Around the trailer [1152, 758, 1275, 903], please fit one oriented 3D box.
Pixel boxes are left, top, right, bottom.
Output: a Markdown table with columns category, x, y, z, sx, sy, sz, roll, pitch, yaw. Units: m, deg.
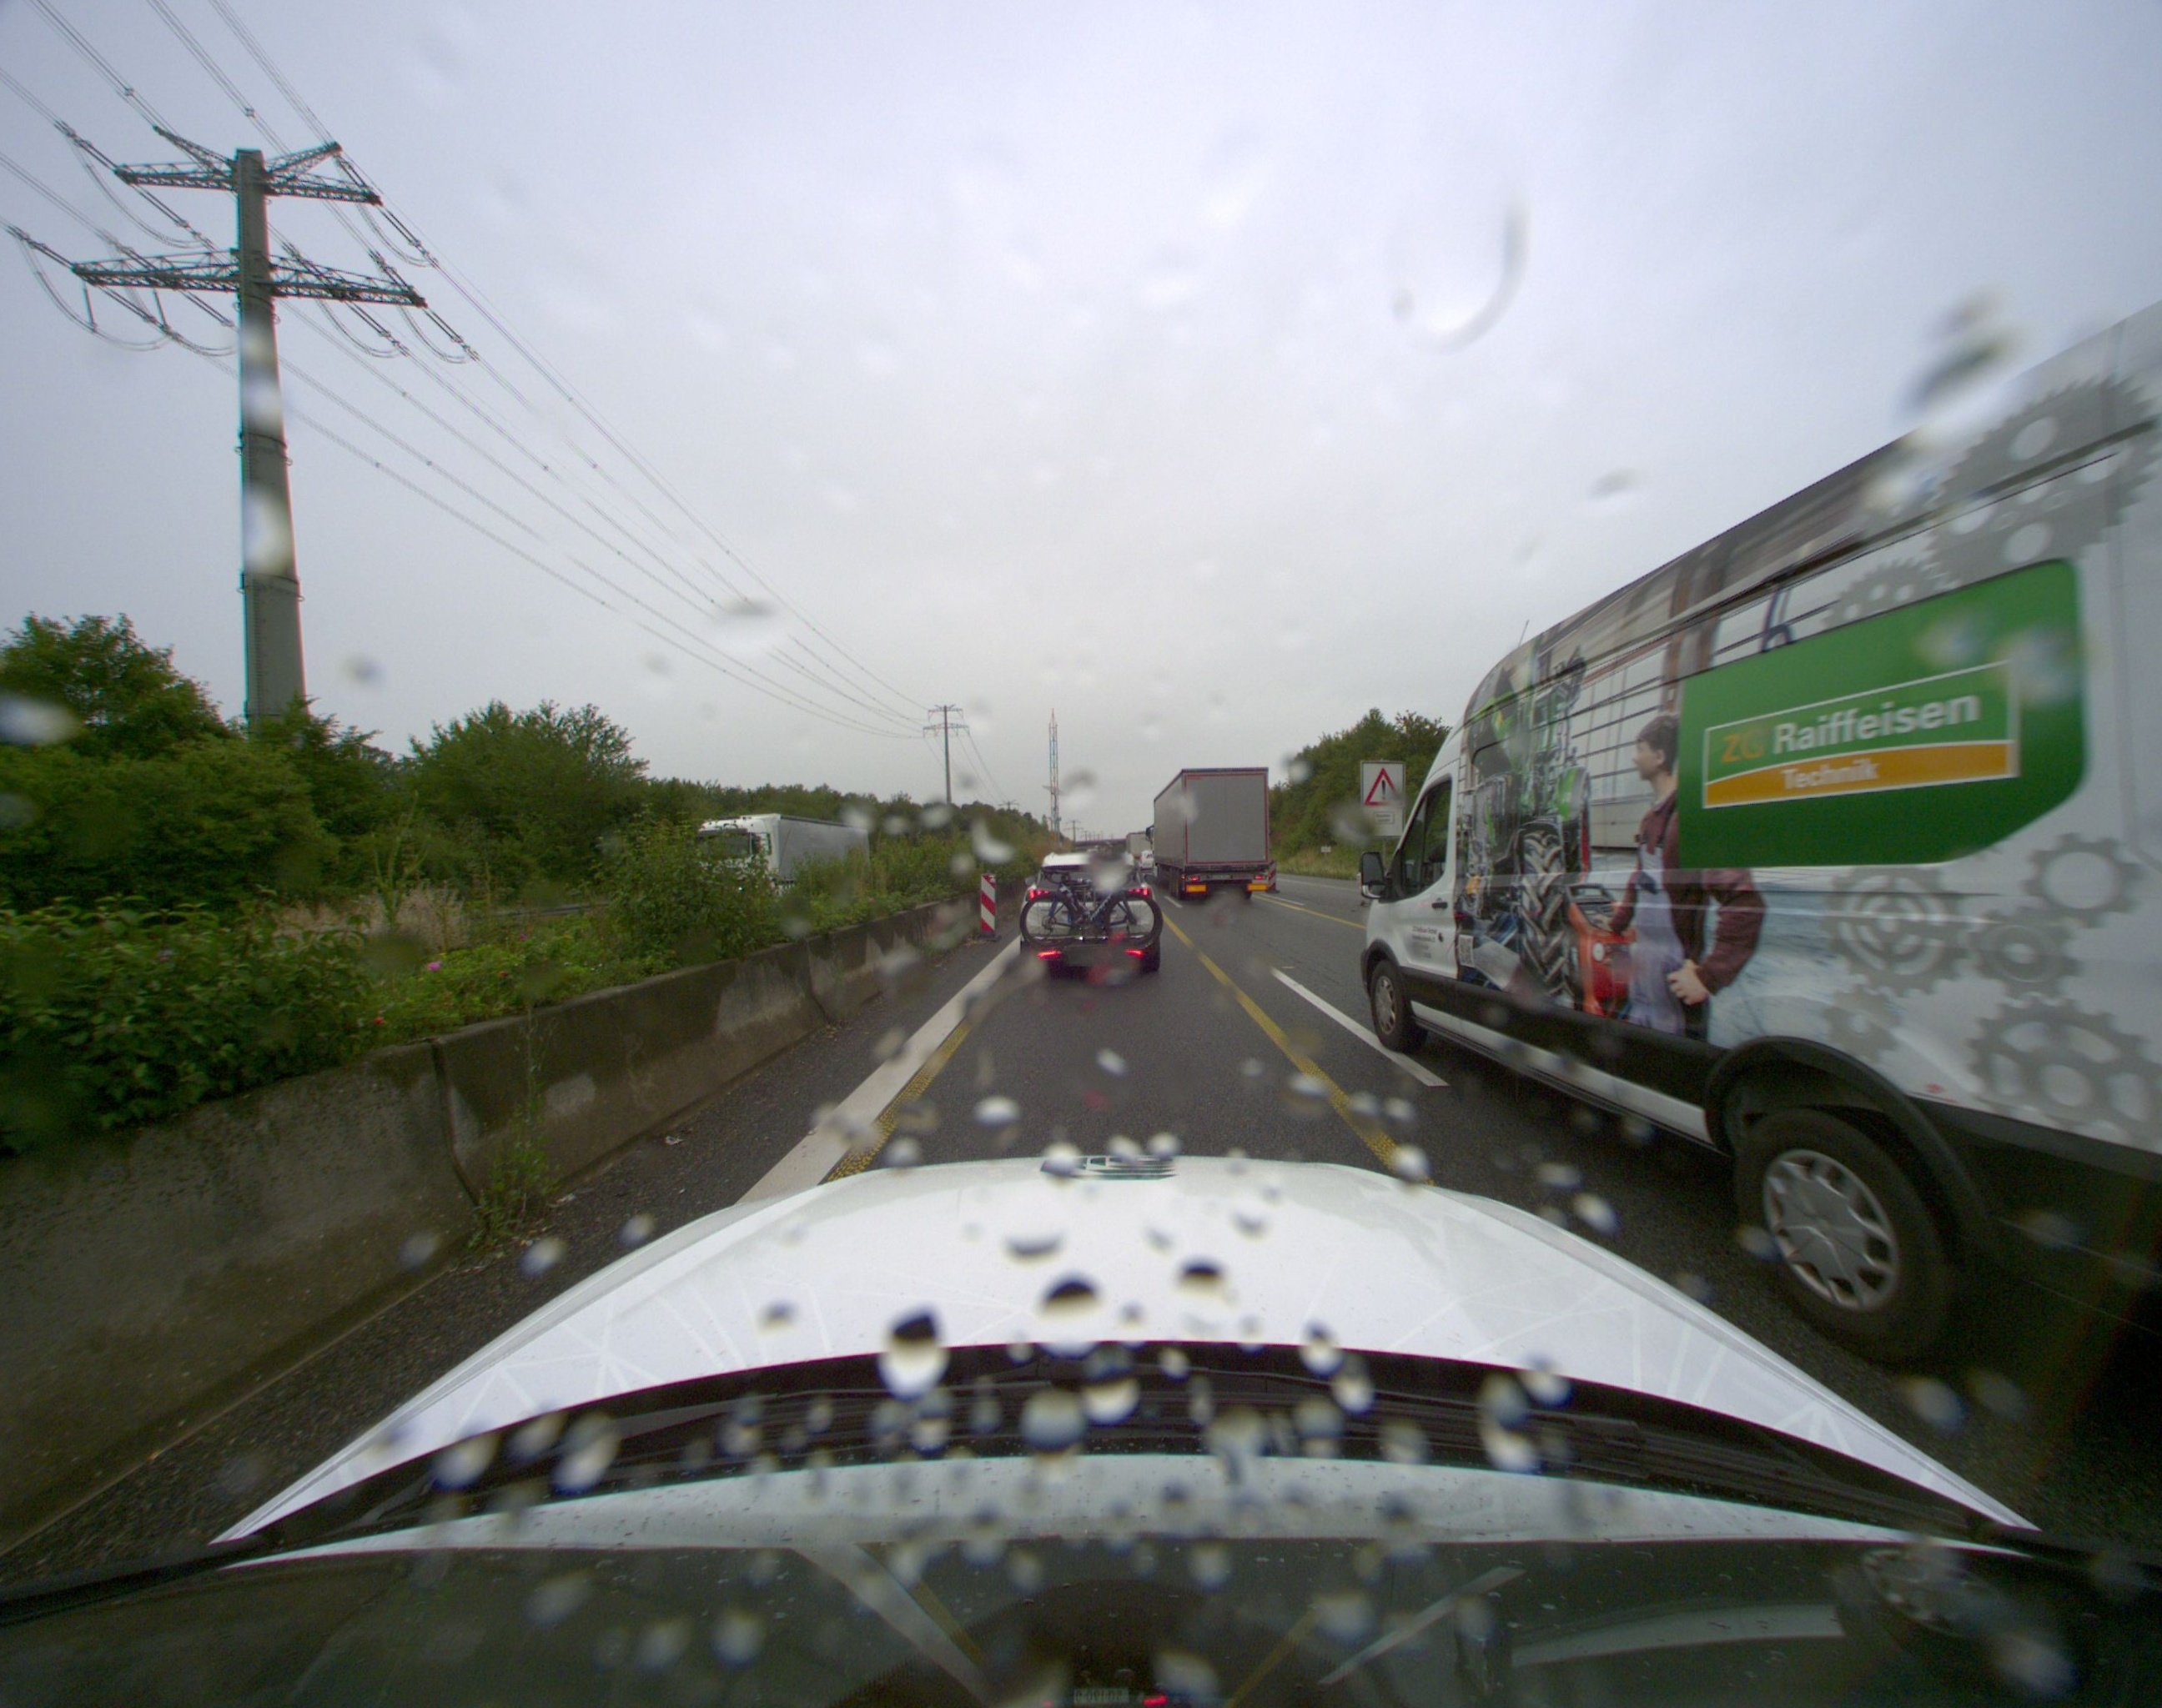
| category | x | y | z | sx | sy | sz | roll | pitch | yaw |
| --- | --- | --- | --- | --- | --- | --- | --- | --- | --- |
| trailer | 4.442 | -0.682 | 30.550 | 2.696 | 4.146 | 13.736 | -1 | 0 | 2 |

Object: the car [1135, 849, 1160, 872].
| category | x | y | z | sx | sy | sz | roll | pitch | yaw |
| --- | --- | --- | --- | --- | --- | --- | --- | --- | --- |
| car | 5.515 | 0.490 | 68.329 | 1.822 | 1.839 | 4.657 | -1 | 0 | 1 |

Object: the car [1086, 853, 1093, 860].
| category | x | y | z | sx | sy | sz | roll | pitch | yaw |
| --- | --- | --- | --- | --- | --- | --- | --- | --- | --- |
| car | 2.488 | 0.616 | 231.187 | 1.924 | 1.973 | 4.002 | -1 | 1 | 1 |

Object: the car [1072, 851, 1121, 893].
| category | x | y | z | sx | sy | sz | roll | pitch | yaw |
| --- | --- | --- | --- | --- | --- | --- | --- | --- | --- |
| car | 0.635 | 0.677 | 32.806 | 1.843 | 1.531 | 4.001 | -1 | 0 | 1 |

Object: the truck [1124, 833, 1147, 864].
| category | x | y | z | sx | sy | sz | roll | pitch | yaw |
| --- | --- | --- | --- | --- | --- | --- | --- | --- | --- |
| truck | 7.317 | -0.749 | 110.092 | 2.650 | 4.076 | 6.541 | -1 | 0 | 1 |

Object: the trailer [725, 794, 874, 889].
| category | x | y | z | sx | sy | sz | roll | pitch | yaw |
| --- | --- | --- | --- | --- | --- | --- | --- | --- | --- |
| trailer | -14.228 | -0.559 | 42.909 | 2.776 | 4.023 | 13.252 | -4 | 0 | 1 |

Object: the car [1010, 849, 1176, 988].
| category | x | y | z | sx | sy | sz | roll | pitch | yaw |
| --- | --- | --- | --- | --- | --- | --- | --- | --- | --- |
| car | 0.200 | 0.724 | 11.563 | 1.843 | 1.531 | 4.770 | -1 | 0 | 1 |

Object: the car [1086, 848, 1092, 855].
| category | x | y | z | sx | sy | sz | roll | pitch | yaw |
| --- | --- | --- | --- | --- | --- | --- | --- | --- | --- |
| car | 2.605 | -0.874 | 261.891 | 1.924 | 1.973 | 4.002 | -1 | 1 | 1 |

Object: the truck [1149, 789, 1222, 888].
| category | x | y | z | sx | sy | sz | roll | pitch | yaw |
| --- | --- | --- | --- | --- | --- | --- | --- | --- | --- |
| truck | 4.657 | -0.650 | 37.458 | 2.696 | 4.138 | 5.692 | -1 | 0 | 1 |

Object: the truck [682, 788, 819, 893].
| category | x | y | z | sx | sy | sz | roll | pitch | yaw |
| --- | --- | --- | --- | --- | --- | --- | --- | --- | --- |
| truck | -14.401 | -0.546 | 36.220 | 2.776 | 4.023 | 7.234 | -4 | 0 | 1 |

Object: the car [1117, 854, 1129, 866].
| category | x | y | z | sx | sy | sz | roll | pitch | yaw |
| --- | --- | --- | --- | --- | --- | --- | --- | --- | --- |
| car | 7.808 | 1.085 | 151.310 | 2.103 | 1.973 | 4.002 | -1 | 1 | 1 |

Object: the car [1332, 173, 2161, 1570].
| category | x | y | z | sx | sy | sz | roll | pitch | yaw |
| --- | --- | --- | --- | --- | --- | --- | --- | --- | --- |
| car | 3.180 | 0.030 | 4.221 | 1.987 | 2.782 | 5.757 | -1 | 0 | 1 |

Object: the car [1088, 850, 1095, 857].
| category | x | y | z | sx | sy | sz | roll | pitch | yaw |
| --- | --- | --- | --- | --- | --- | --- | --- | --- | --- |
| car | 3.299 | -0.103 | 249.185 | 1.924 | 1.910 | 4.002 | -1 | 1 | 1 |

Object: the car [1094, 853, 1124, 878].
| category | x | y | z | sx | sy | sz | roll | pitch | yaw |
| --- | --- | --- | --- | --- | --- | --- | --- | --- | --- |
| car | 1.765 | 0.697 | 51.957 | 1.843 | 1.531 | 4.001 | -1 | 0 | 1 |

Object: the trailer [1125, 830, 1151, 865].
| category | x | y | z | sx | sy | sz | roll | pitch | yaw |
| --- | --- | --- | --- | --- | --- | --- | --- | --- | --- |
| trailer | 7.119 | -0.722 | 103.296 | 2.683 | 4.076 | 13.637 | -1 | 0 | 2 |
